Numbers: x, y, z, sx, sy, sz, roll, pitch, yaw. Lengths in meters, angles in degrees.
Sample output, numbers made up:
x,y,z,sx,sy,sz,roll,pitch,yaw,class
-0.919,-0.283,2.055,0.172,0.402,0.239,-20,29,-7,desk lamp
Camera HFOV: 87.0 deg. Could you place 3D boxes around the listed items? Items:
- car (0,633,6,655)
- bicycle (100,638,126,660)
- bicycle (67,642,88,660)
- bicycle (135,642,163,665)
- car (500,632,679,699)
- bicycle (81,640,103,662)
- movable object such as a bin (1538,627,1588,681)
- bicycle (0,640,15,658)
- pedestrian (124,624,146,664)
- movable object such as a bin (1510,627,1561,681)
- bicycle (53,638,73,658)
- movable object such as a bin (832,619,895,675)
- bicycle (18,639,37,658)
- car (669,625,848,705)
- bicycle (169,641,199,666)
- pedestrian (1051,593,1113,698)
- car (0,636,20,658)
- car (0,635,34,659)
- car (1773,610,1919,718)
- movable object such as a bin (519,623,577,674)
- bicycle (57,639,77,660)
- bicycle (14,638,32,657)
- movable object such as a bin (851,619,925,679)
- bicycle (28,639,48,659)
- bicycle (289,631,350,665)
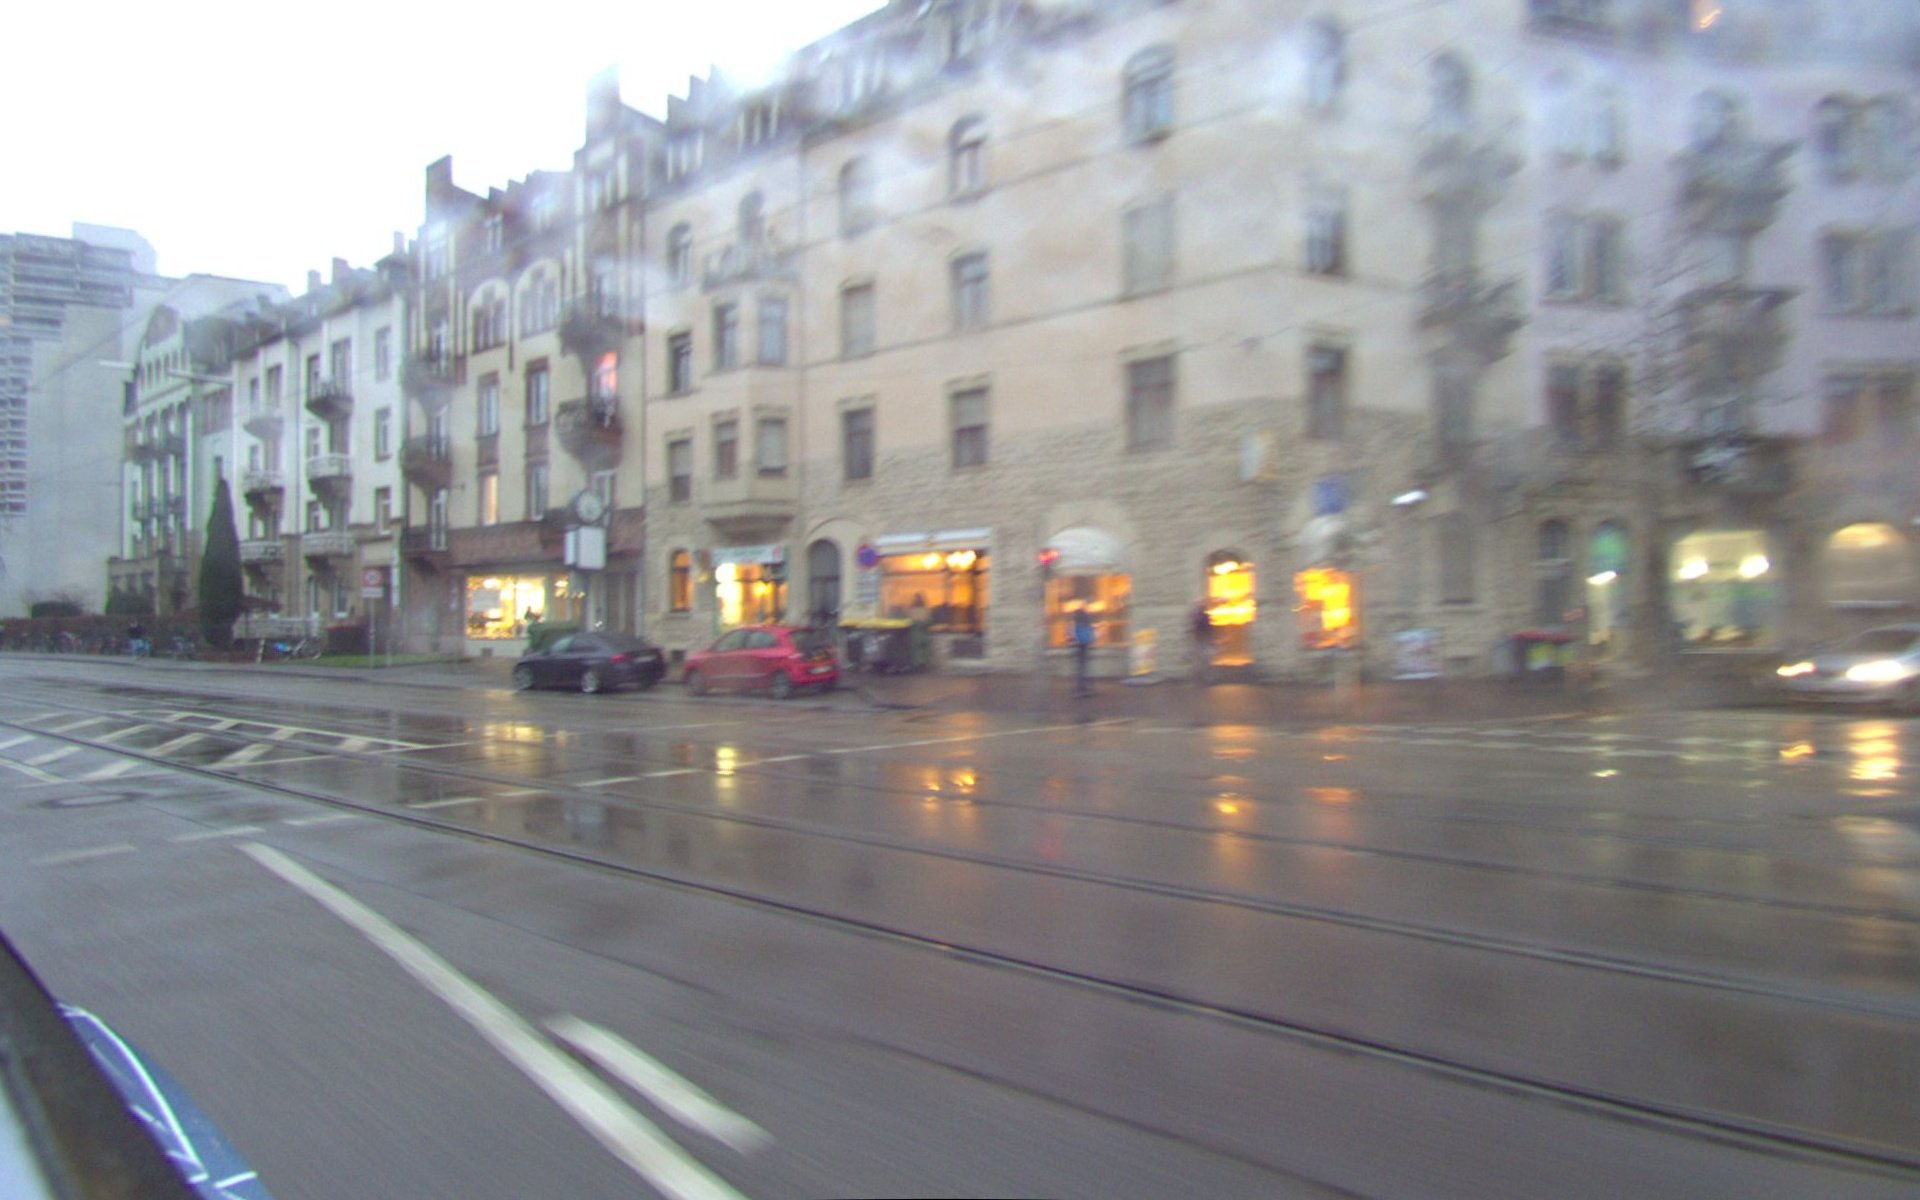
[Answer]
x,y,z,sx,sy,sz,roll,pitch,yaw,class
-65.402,3.021,66.431,1.724,1.424,3.796,-2,1,37,car
-39.908,2.299,47.682,2.206,1.014,0.479,-1,1,38,bicycle
-44.167,2.527,50.637,1.765,0.838,0.437,-1,1,38,bicycle
-35.621,2.342,44.429,2.208,0.896,0.524,-1,1,41,bicycle
-9.175,1.560,24.947,4.495,1.400,1.788,-2,1,33,car
-42.617,2.483,49.690,1.710,1.014,0.430,-1,1,38,bicycle
13.116,1.163,22.021,0.638,1.144,0.655,0,-2,-17,movable object such as a bin
-55.779,2.851,59.172,1.878,1.014,0.464,-1,1,38,bicycle
-35.273,1.889,43.282,0.448,1.654,0.567,-2,1,35,pedestrian
12.423,1.152,21.861,0.638,1.144,0.694,0,-2,-17,movable object such as a bin
-47.000,2.492,53.029,1.878,1.014,0.430,-1,1,38,bicycle
-2.548,1.217,26.709,1.272,1.382,0.993,-2,1,35,movable object such as a bin
-51.823,2.677,56.226,1.878,1.014,0.430,-1,1,38,bicycle
-4.446,1.385,22.263,3.665,1.527,1.660,-2,1,30,car
-31.835,2.173,41.486,2.084,0.947,0.524,-1,1,41,bicycle
2.275,0.827,18.967,0.784,1.892,0.897,-2,1,-18,pedestrian
-63.041,3.014,64.910,1.724,1.424,3.795,-2,-2,37,car
-60.792,2.966,63.466,1.724,1.424,3.795,-2,-1,37,car
15.598,0.964,16.365,3.766,1.483,1.617,-2,1,-7,car
-12.649,1.472,31.072,1.071,1.442,1.226,-2,1,35,movable object such as a bin
-45.700,2.530,51.772,1.603,1.014,0.430,-1,1,38,bicycle
-53.313,2.692,57.561,1.878,1.014,0.430,-1,1,38,bicycle
-1.799,1.222,25.418,1.278,1.382,1.338,-2,1,35,movable object such as a bin
-50.183,2.655,55.072,1.878,1.014,0.430,-1,1,38,bicycle
-25.400,1.891,40.153,0.530,1.167,1.967,-2,1,35,bicycle
